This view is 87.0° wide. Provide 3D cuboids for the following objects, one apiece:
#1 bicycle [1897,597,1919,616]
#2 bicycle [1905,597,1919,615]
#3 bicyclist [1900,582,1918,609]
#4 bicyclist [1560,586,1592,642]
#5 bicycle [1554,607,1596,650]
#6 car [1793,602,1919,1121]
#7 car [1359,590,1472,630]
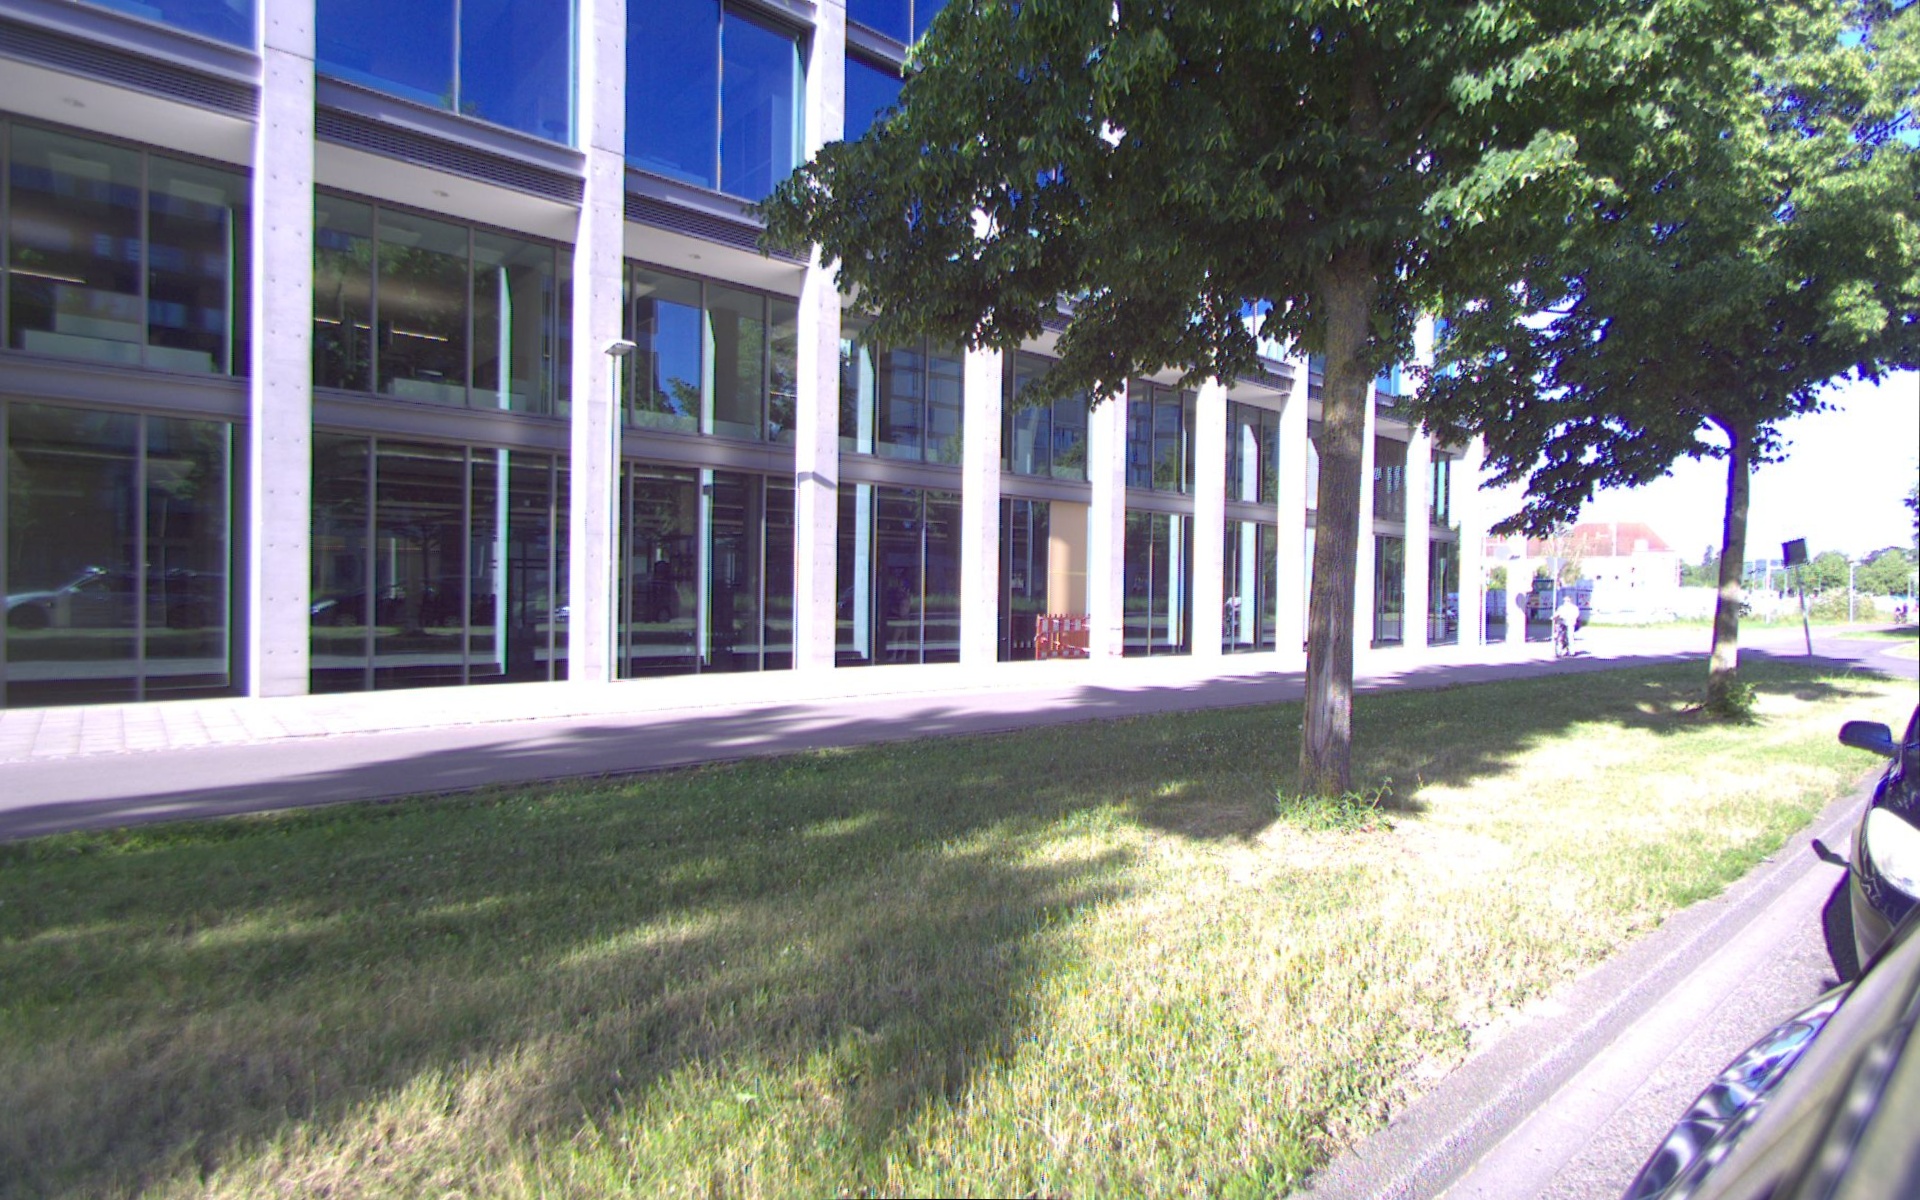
[{"bbox_3d":[74.577,0.499,79.564,3.930,1.380,0.930,0,1,-41],"label":"bicycle"},{"bbox_3d":[77.830,0.463,82.393,3.930,1.380,0.930,0,1,-41],"label":"bicycle"},{"bbox_3d":[74.607,-0.380,79.568,1.101,2.082,0.930,0,0,-41],"label":"bicyclist"},{"bbox_3d":[17.669,0.390,29.034,0.590,1.558,0.688,4,2,44],"label":"bicyclist"},{"bbox_3d":[17.654,0.807,29.049,0.590,1.170,1.897,4,2,43],"label":"bicycle"},{"bbox_3d":[4.863,0.772,3.901,4.403,1.500,1.845,0,1,-41],"label":"car"},{"bbox_3d":[19.523,0.388,43.495,1.963,1.598,3.997,0,1,-38],"label":"car"}]
